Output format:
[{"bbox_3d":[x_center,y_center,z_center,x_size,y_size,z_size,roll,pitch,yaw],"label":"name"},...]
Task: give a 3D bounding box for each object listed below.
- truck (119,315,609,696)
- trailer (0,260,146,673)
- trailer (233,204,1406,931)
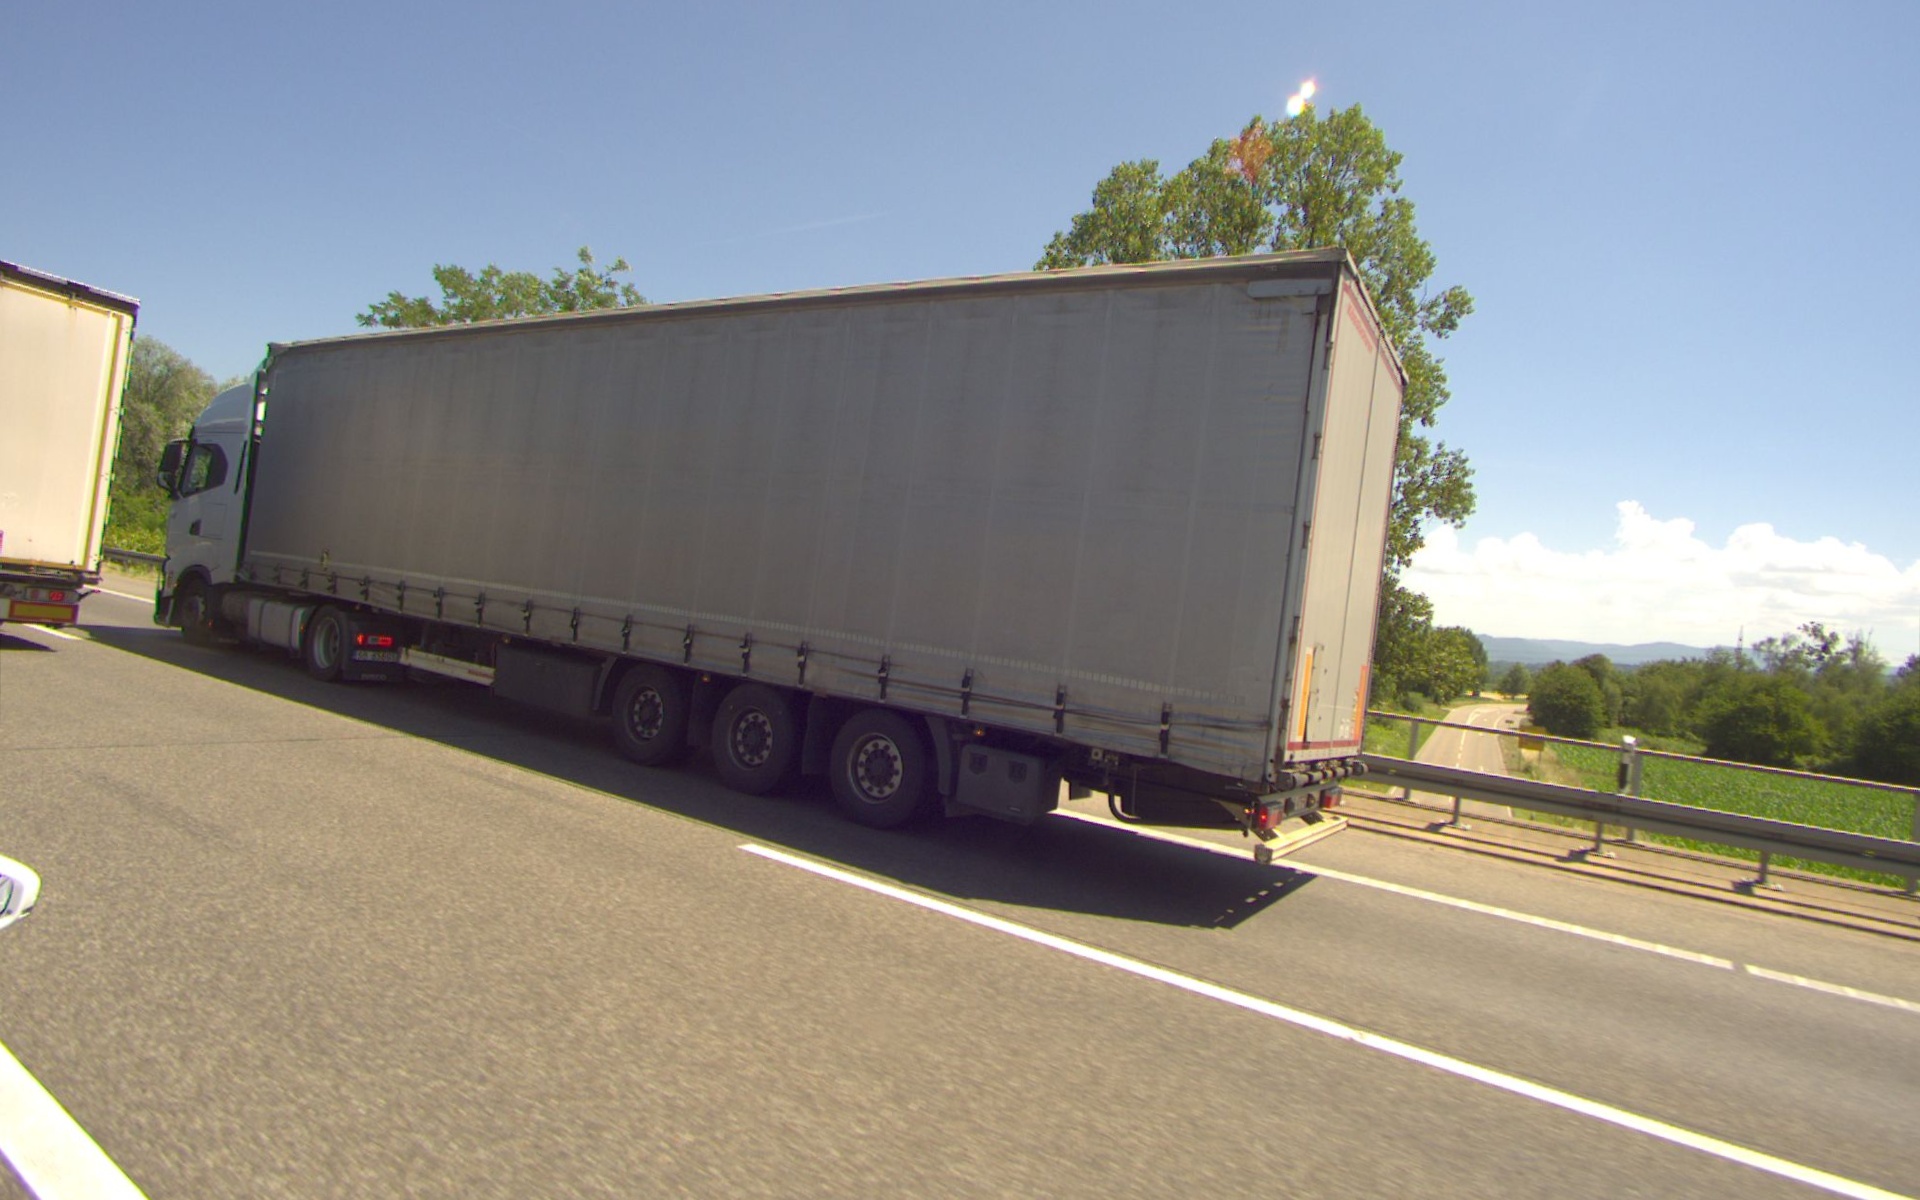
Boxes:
[{"bbox_3d":[-8.505,-1.227,14.080,6.877,4.165,2.705,6,-2,33],"label":"truck"},{"bbox_3d":[-15.051,-1.896,13.306,11.934,4.165,2.705,6,-2,33],"label":"trailer"},{"bbox_3d":[-2.829,-0.596,10.404,13.025,4.165,2.705,6,-2,33],"label":"trailer"}]
